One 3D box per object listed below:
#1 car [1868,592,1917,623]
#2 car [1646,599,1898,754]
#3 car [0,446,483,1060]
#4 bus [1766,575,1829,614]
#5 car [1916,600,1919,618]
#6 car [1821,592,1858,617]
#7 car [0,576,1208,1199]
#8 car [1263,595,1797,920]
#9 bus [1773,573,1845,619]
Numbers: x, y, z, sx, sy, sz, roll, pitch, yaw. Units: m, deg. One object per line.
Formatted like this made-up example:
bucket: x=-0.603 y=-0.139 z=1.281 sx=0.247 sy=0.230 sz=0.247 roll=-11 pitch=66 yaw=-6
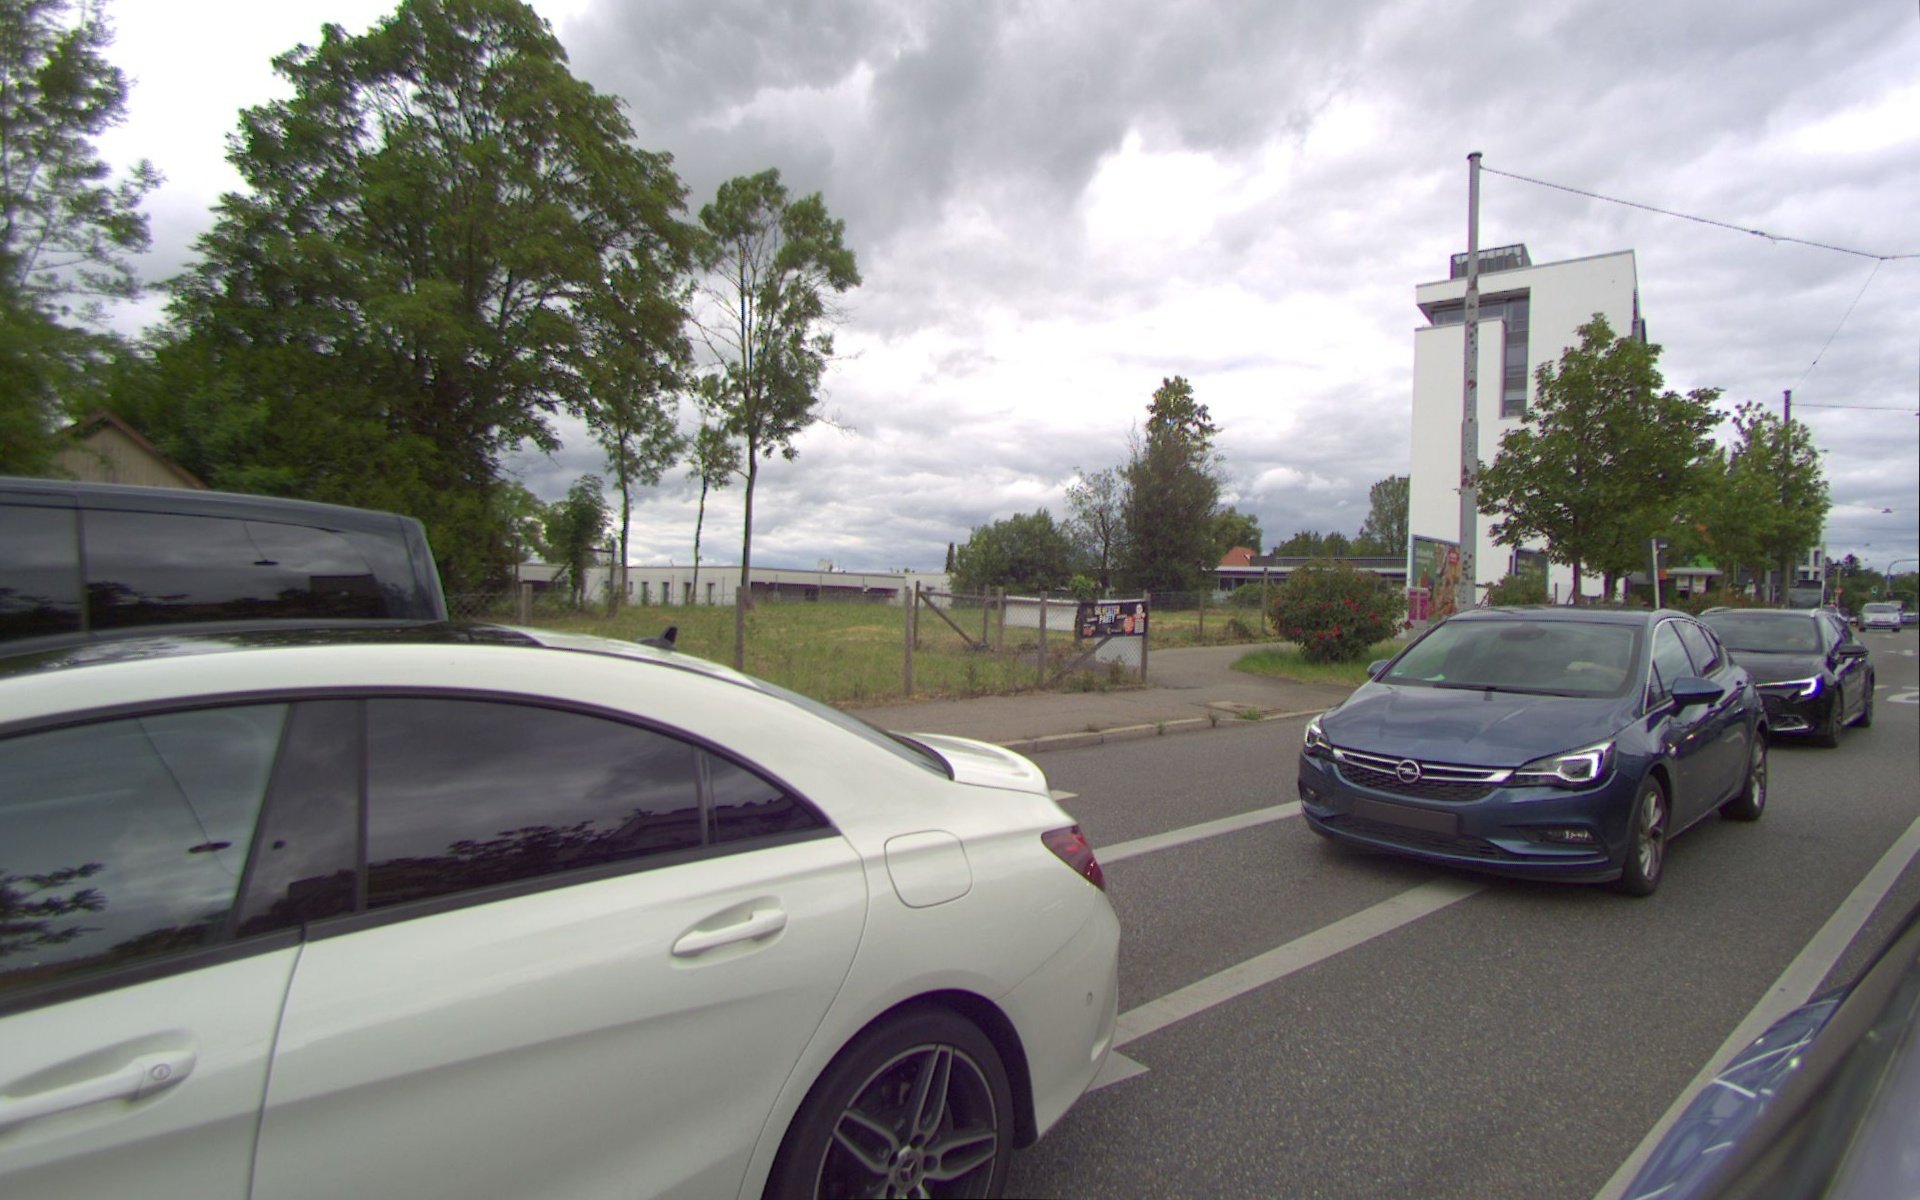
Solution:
car: x=52.295 y=0.415 z=56.819 sx=1.844 sy=1.637 sz=3.727 roll=-1 pitch=-1 yaw=41
car: x=9.400 y=0.727 z=11.613 sx=3.854 sy=1.475 sz=1.663 roll=0 pitch=0 yaw=-42
car: x=-4.251 y=0.472 z=3.210 sx=4.627 sy=1.863 sz=1.952 roll=0 pitch=-1 yaw=-41
bus: x=61.430 y=-0.447 z=74.458 sx=2.952 sy=2.664 sz=12.751 roll=0 pitch=1 yaw=37
car: x=102.642 y=1.018 z=106.687 sx=1.987 sy=1.844 sz=3.951 roll=2 pitch=1 yaw=34
car: x=71.124 y=0.363 z=81.887 sx=1.841 sy=1.910 sz=4.082 roll=-1 pitch=-1 yaw=36
car: x=-1.537 y=0.694 z=1.806 sx=4.300 sy=1.451 sz=1.652 roll=0 pitch=1 yaw=-41
car: x=3.811 y=0.689 z=6.473 sx=3.931 sy=1.428 sz=1.825 roll=0 pitch=0 yaw=-42
bus: x=53.962 y=-0.313 z=64.559 sx=2.952 sy=2.664 sz=11.986 roll=0 pitch=1 yaw=37
